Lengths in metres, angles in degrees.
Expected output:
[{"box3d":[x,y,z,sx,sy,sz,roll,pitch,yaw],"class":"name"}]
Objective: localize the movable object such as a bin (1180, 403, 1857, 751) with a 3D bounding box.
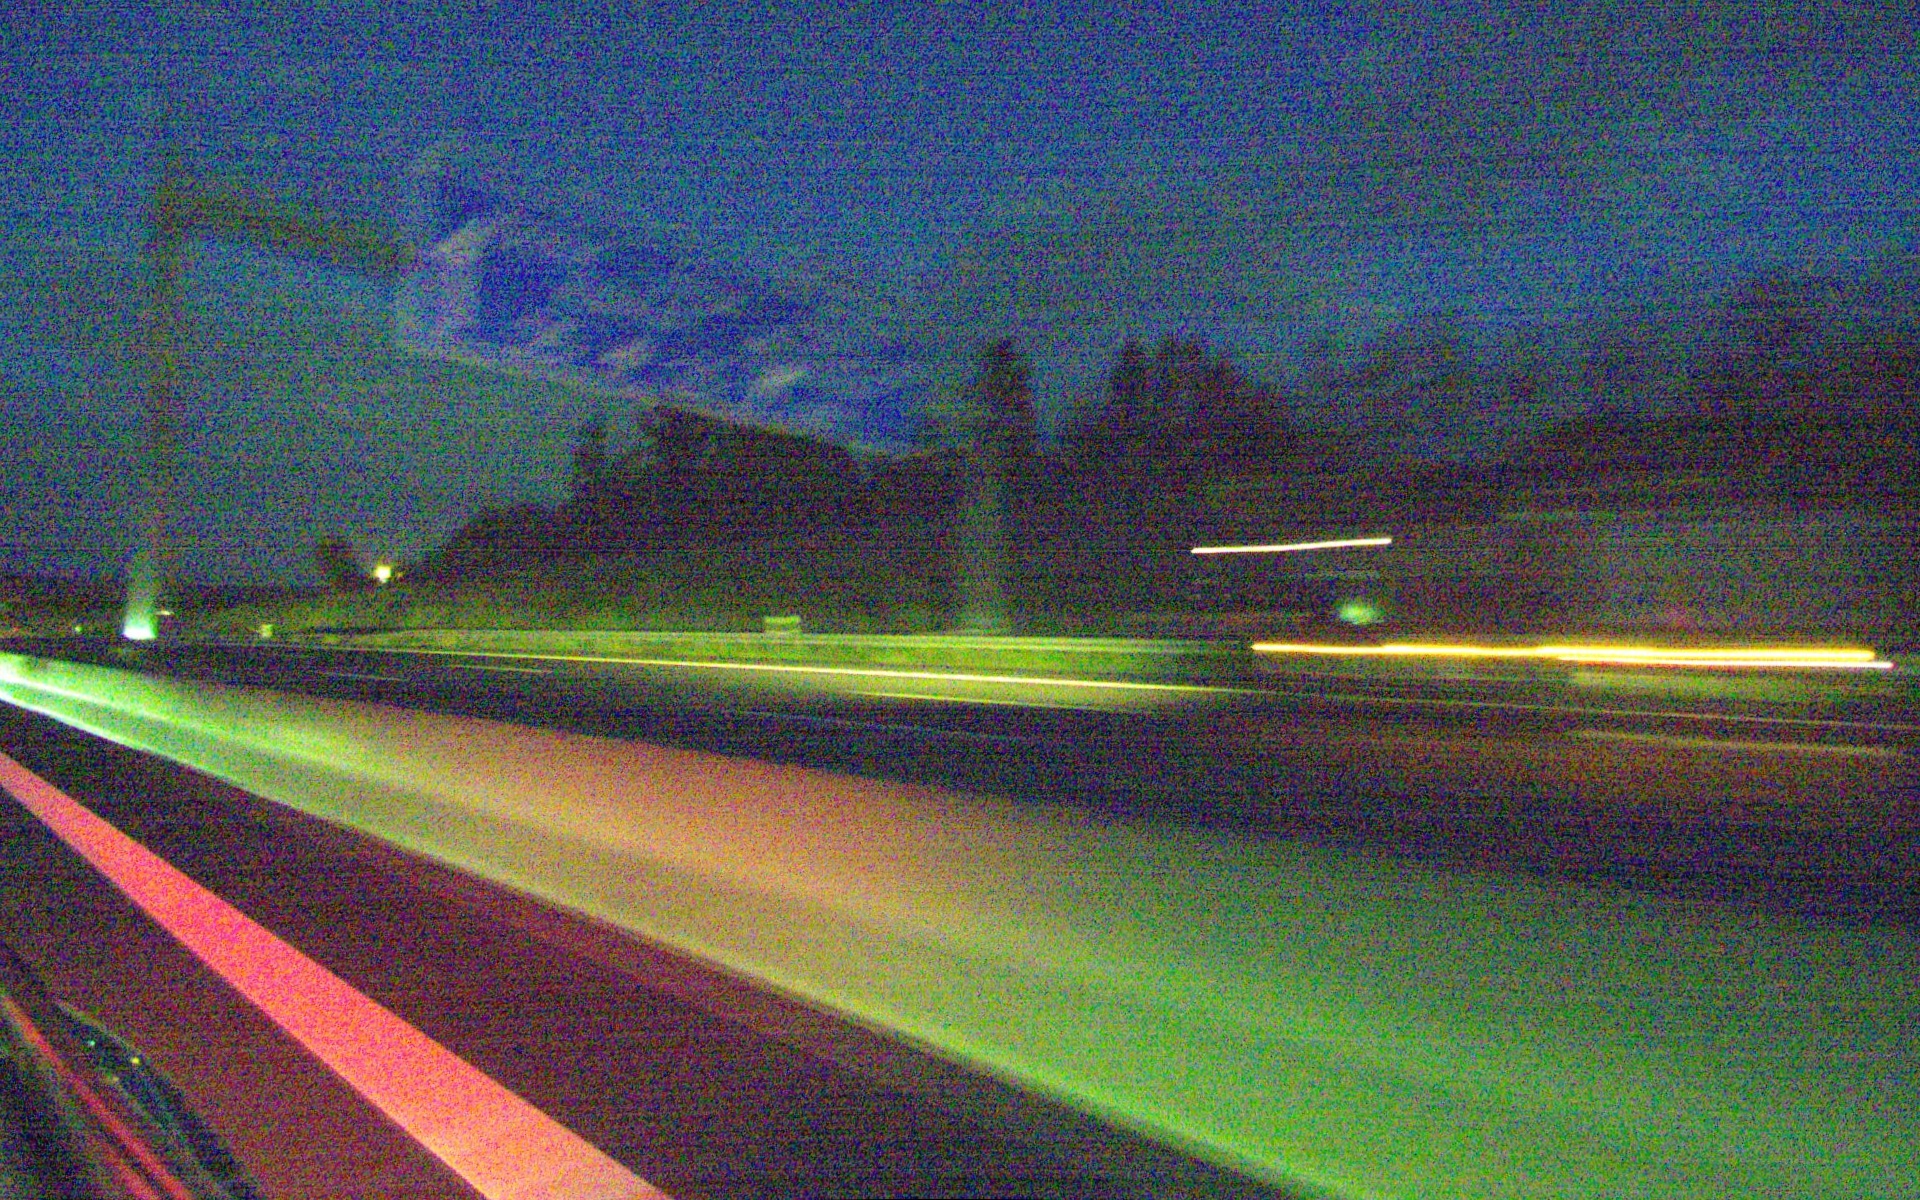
[{"box3d":[6.767,-0.169,13.313,7.433,3.443,2.184,-1,-1,41],"class":"movable object such as a bin"}]
